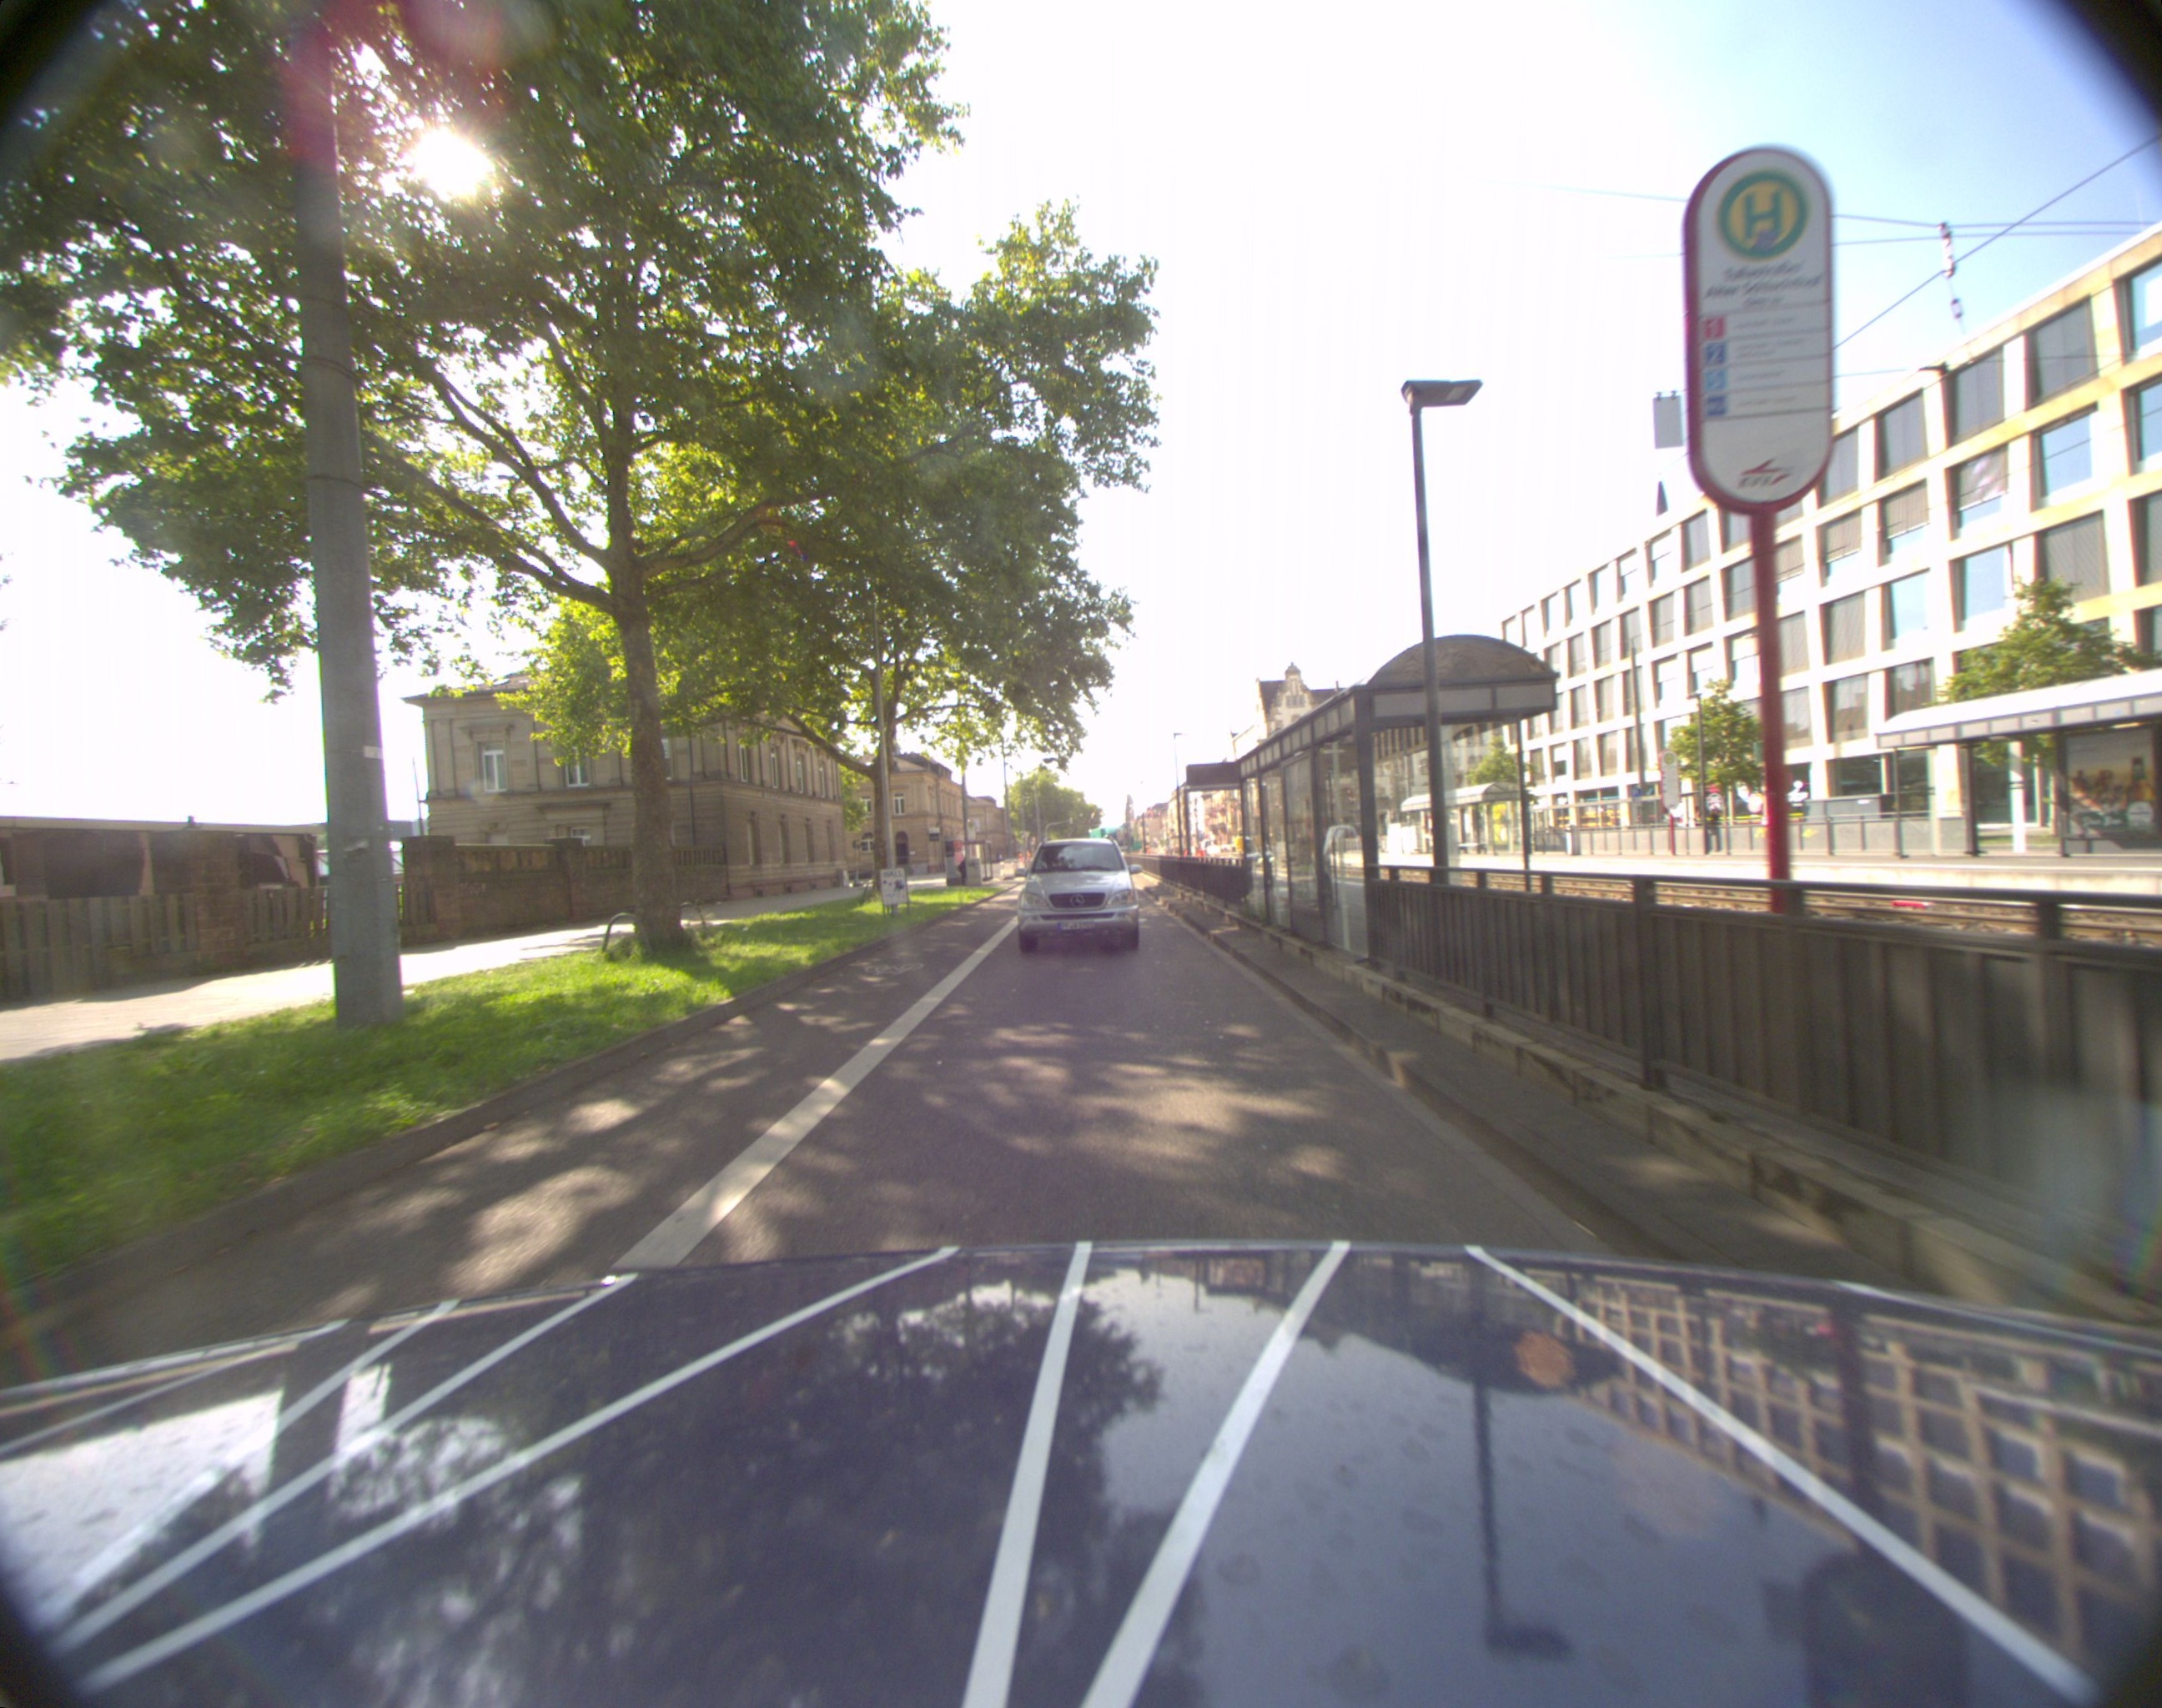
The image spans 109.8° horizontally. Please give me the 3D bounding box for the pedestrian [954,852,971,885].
[{"bbox_3d":[-6.351,0.764,40.757,0.690,1.687,0.647,-4,1,-20],"label":"pedestrian"}]

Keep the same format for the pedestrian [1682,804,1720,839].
[{"bbox_3d":[32.062,-1.656,39.291,0.978,1.742,1.123,-3,1,1],"label":"pedestrian"}]

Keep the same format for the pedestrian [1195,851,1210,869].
[{"bbox_3d":[9.283,0.427,58.120,1.017,1.299,0.983,-3,0,4],"label":"pedestrian"}]

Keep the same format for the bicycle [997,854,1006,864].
[{"bbox_3d":[-8.747,0.526,83.394,0.719,1.036,1.902,-3,0,-1],"label":"bicycle"}]

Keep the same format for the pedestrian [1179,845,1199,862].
[{"bbox_3d":[8.533,-0.025,60.026,1.313,1.299,0.800,-3,1,25],"label":"pedestrian"}]

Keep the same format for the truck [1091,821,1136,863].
[{"bbox_3d":[3.047,-1.062,72.966,2.682,3.657,8.208,-4,0,-8],"label":"truck"}]

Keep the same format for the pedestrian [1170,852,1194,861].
[{"bbox_3d":[8.460,0.228,63.551,1.906,0.632,0.912,-4,0,5],"label":"pedestrian"}]

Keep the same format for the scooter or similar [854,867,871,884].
[{"bbox_3d":[-15.467,1.504,53.850,0.421,1.202,1.257,-3,-1,23],"label":"scooter or similar"}]

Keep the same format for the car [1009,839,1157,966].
[{"bbox_3d":[0.045,0.663,13.340,1.998,1.686,5.225,-3,0,0],"label":"car"}]

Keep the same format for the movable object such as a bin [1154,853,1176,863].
[{"bbox_3d":[6.497,0.332,58.655,1.507,0.649,0.702,-3,0,22],"label":"movable object such as a bin"}]

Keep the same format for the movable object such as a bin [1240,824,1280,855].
[{"bbox_3d":[20.737,-1.655,88.385,2.853,3.310,8.346,-3,1,3],"label":"movable object such as a bin"}]

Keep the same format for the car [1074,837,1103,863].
[{"bbox_3d":[0.800,-0.470,85.243,2.232,2.713,5.165,-4,1,-11],"label":"car"}]

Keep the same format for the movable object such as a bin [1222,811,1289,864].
[{"bbox_3d":[14.856,-1.361,64.152,3.507,3.990,9.055,-3,0,25],"label":"movable object such as a bin"}]

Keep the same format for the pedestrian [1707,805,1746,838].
[{"bbox_3d":[33.140,-1.672,39.000,0.978,1.588,1.123,-3,1,1],"label":"pedestrian"}]

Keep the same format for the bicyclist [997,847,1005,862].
[{"bbox_3d":[-8.774,0.053,83.501,0.719,1.534,0.955,-3,0,-1],"label":"bicyclist"}]

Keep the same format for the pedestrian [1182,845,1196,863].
[{"bbox_3d":[8.398,0.000,59.078,0.838,1.299,0.800,-3,1,25],"label":"pedestrian"}]
